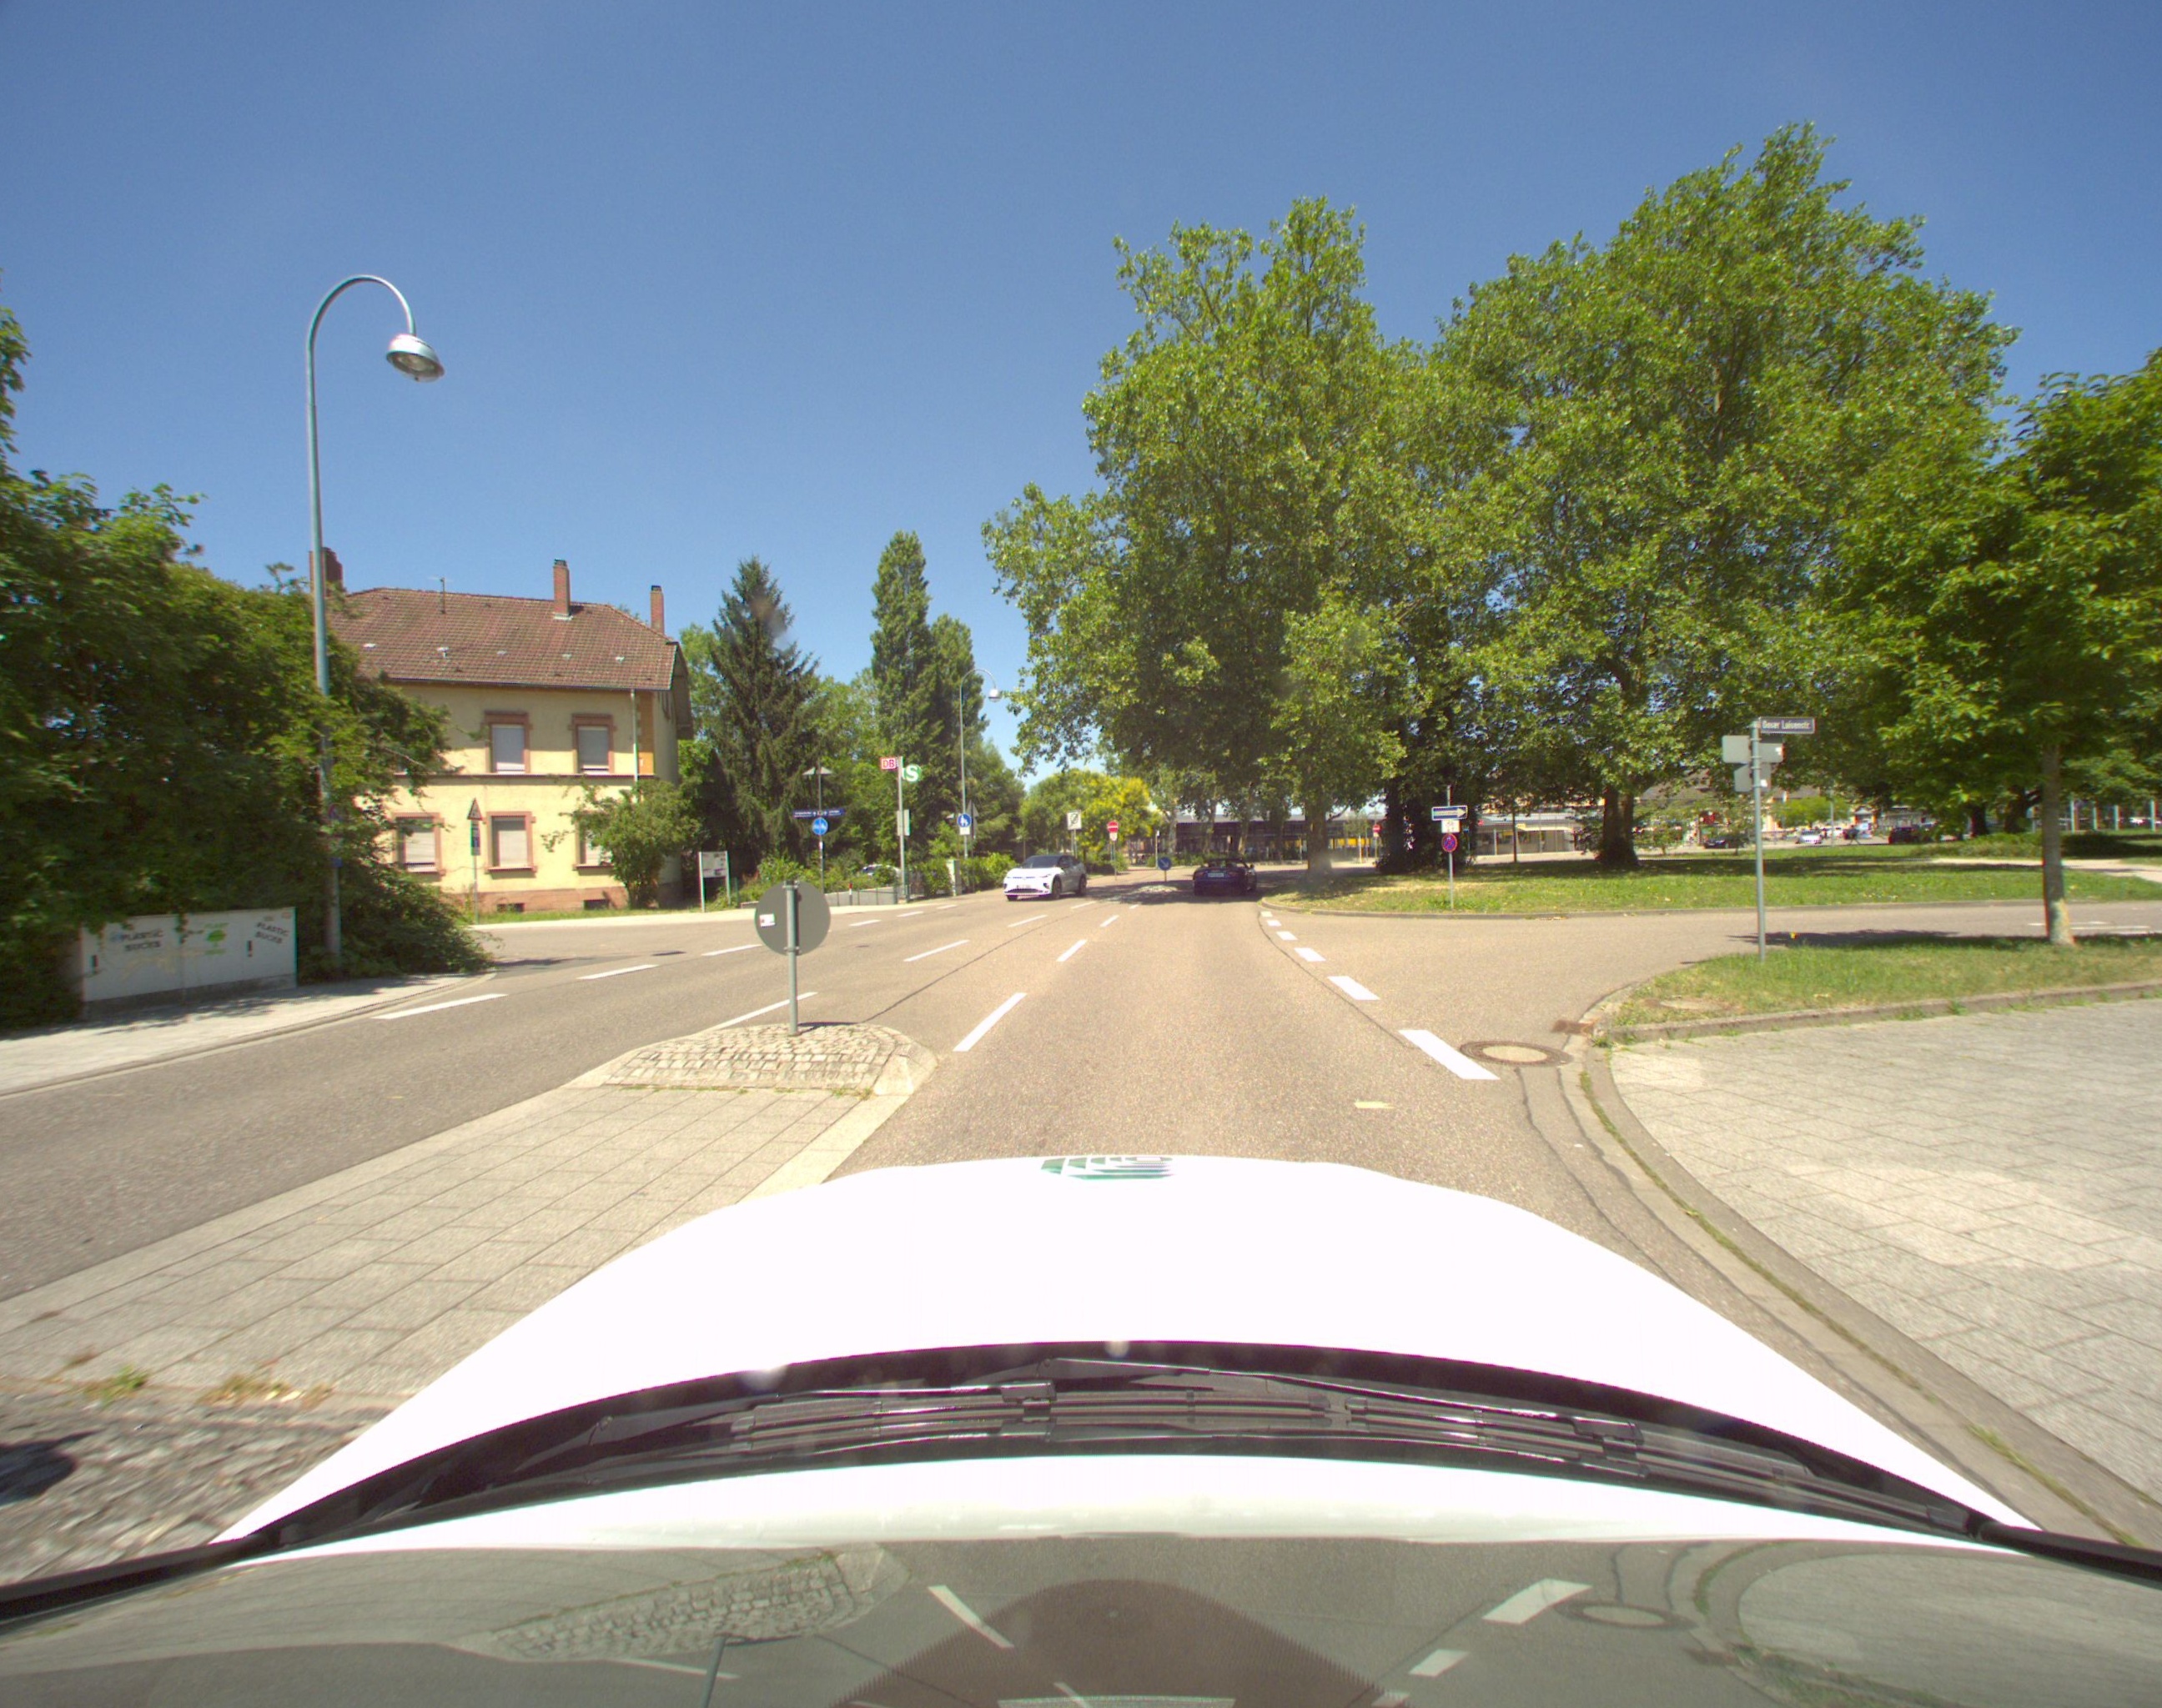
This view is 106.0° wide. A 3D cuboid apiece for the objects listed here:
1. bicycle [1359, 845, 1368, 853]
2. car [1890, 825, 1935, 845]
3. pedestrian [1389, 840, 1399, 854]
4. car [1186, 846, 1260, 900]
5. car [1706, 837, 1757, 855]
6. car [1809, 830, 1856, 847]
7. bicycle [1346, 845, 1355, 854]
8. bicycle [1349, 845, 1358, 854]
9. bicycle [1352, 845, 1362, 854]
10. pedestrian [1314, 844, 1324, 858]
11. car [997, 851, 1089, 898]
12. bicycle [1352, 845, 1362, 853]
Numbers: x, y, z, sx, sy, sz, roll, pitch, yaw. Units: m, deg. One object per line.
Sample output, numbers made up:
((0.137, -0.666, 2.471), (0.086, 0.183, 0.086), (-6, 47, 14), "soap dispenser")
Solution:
((35.907, -0.636, 103.541), (0.386, 1.094, 1.376), (0, -1, -20), "bicycle")
((67.965, -1.528, 66.542), (3.718, 1.478, 1.707), (-2, -1, -31), "car")
((36.720, -0.802, 95.547), (0.772, 1.617, 0.812), (0, -1, -41), "pedestrian")
((5.348, 0.649, 30.254), (2.108, 1.848, 4.067), (-1, 0, 18), "car")
((60.907, -0.773, 76.252), (4.792, 1.478, 1.710), (-2, -1, -24), "car")
((75.951, -1.541, 82.339), (4.162, 1.444, 1.807), (-3, -3, -22), "car")
((34.681, -0.602, 104.770), (0.386, 1.094, 1.375), (0, -1, -21), "bicycle")
((35.165, -0.603, 105.065), (0.386, 1.094, 1.376), (0, -1, -20), "bicycle")
((35.639, -0.605, 105.261), (0.386, 1.094, 1.376), (0, -1, -20), "bicycle")
((26.922, -0.323, 91.985), (0.823, 1.463, 0.602), (-2, -1, -26), "pedestrian")
((-1.292, 0.696, 29.678), (1.829, 1.530, 4.360), (-1, 0, 19), "car")
((34.994, -0.631, 103.254), (0.386, 1.094, 1.375), (0, -1, -22), "bicycle")
